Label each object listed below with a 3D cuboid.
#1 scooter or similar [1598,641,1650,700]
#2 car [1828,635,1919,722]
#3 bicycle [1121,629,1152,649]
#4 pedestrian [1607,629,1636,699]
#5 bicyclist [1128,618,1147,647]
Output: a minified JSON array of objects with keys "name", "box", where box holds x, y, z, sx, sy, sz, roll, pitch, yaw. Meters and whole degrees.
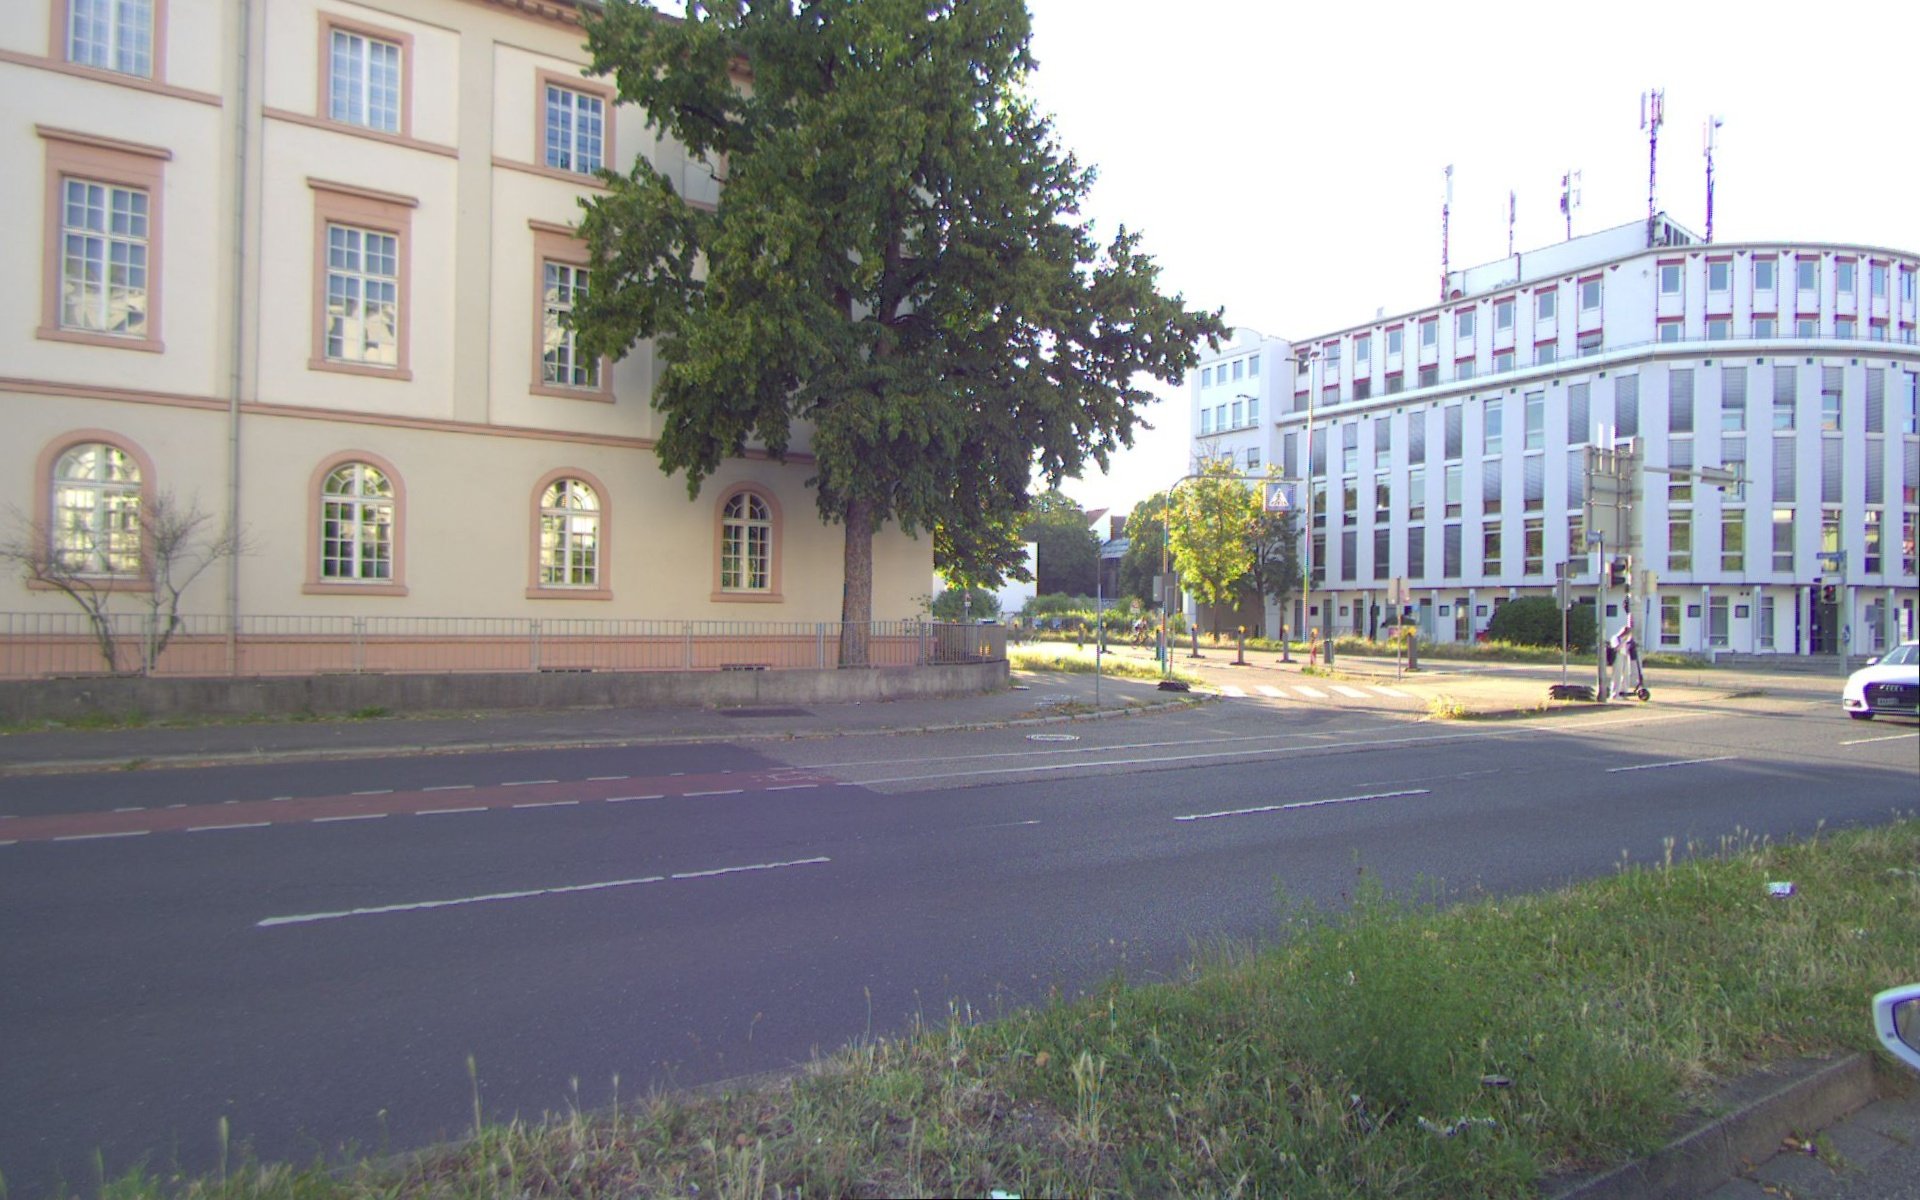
[{"name":"scooter or similar","box":[14.665,1.542,22.187,0.368,1.250,0.885,1,-1,-40]},{"name":"car","box":[16.961,1.312,17.338,3.637,1.406,1.686,1,-2,-26]},{"name":"bicycle","box":[9.313,2.055,53.087,0.498,1.056,1.786,1,-1,-35]},{"name":"pedestrian","box":[14.713,1.406,22.334,0.332,1.525,0.470,1,-1,-41]},{"name":"bicyclist","box":[9.363,1.706,53.001,0.453,1.516,0.879,1,-1,-36]}]
